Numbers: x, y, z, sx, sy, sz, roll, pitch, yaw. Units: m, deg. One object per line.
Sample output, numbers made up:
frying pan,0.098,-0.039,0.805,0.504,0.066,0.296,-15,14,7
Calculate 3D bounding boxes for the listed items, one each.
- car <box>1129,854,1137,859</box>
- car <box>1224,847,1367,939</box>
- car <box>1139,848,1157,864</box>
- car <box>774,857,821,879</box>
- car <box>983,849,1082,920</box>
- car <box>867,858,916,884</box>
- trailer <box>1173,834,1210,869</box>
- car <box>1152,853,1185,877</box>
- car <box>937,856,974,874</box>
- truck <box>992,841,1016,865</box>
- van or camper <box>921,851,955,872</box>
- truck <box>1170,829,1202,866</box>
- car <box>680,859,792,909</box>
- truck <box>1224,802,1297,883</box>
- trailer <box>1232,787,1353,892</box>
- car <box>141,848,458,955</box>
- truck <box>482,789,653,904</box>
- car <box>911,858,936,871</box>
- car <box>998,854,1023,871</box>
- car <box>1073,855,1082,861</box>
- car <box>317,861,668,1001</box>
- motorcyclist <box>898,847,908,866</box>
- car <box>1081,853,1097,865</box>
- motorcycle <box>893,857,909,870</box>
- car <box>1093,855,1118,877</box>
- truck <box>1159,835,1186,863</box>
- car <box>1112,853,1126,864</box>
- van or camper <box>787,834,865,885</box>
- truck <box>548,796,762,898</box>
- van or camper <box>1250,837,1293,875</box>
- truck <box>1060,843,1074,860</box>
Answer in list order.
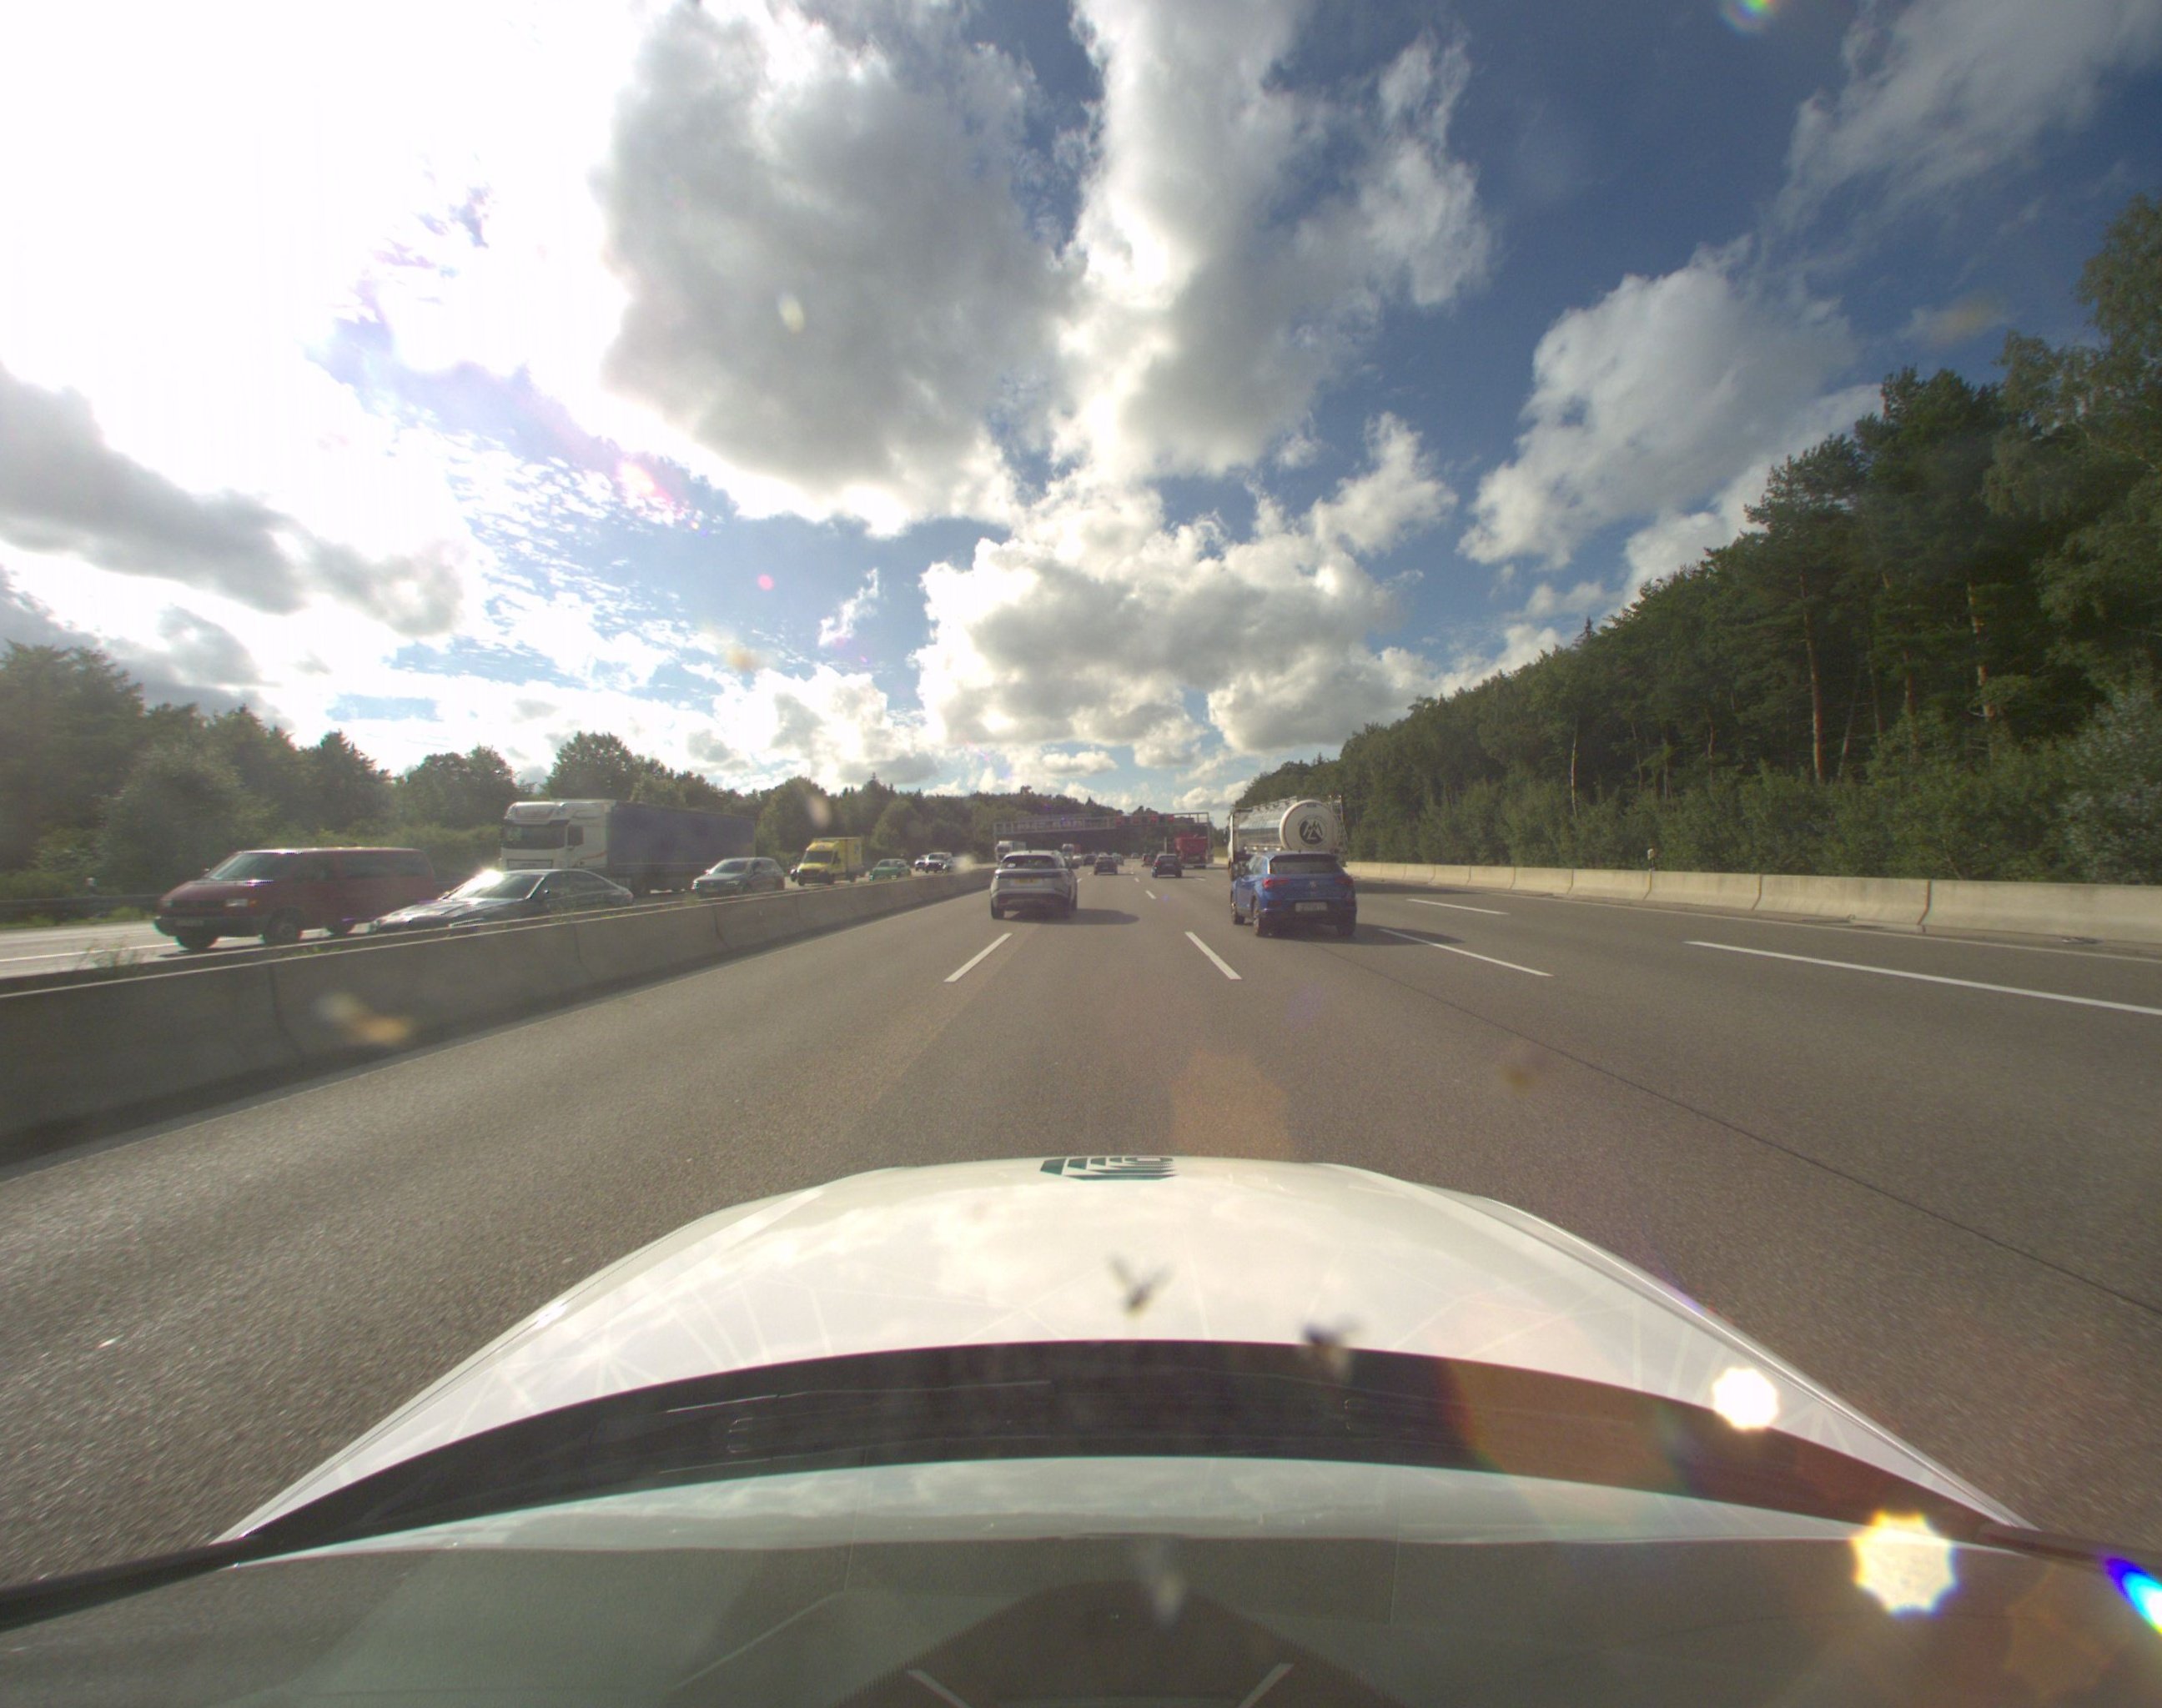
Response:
car,14.896,0.662,232.791,2.067,1.457,4.006,-2,0,5
car,4.030,0.661,16.054,1.766,1.530,4.460,-1,0,2
car,7.928,0.237,96.845,1.887,1.856,4.101,0,0,1
car,-19.642,0.946,56.649,1.690,1.470,4.025,-1,0,3
car,-1.105,0.697,21.330,1.998,1.616,5.305,-1,0,3
car,-11.660,1.019,50.329,1.776,1.470,4.333,-2,0,3
trailer,10.859,-0.304,81.089,2.699,3.231,9.737,-1,0,2
car,5.634,0.694,52.545,1.815,1.457,4.002,-1,0,2
car,-10.953,0.907,71.410,2.162,1.470,4.790,-1,0,4
truck,-13.261,-0.173,140.402,3.306,4.106,6.226,-1,0,1
van or camper,-13.967,0.727,79.867,1.984,1.937,5.464,-1,0,4
truck,11.006,-0.716,85.849,2.699,3.718,5.820,-1,0,2
car,-12.683,1.033,30.348,1.836,1.596,4.916,-2,0,2
truck,9.167,-0.576,42.209,2.637,3.823,6.087,-2,0,3
trailer,8.852,-0.544,35.806,2.638,3.767,11.867,-2,0,2
car,-16.239,0.868,17.429,1.840,1.940,5.034,-1,0,1
truck,-20.183,-0.280,32.505,2.809,4.094,6.064,-1,0,2
car,-17.458,1.146,90.488,1.816,1.394,4.280,-1,0,1
car,-6.864,0.787,79.180,1.856,1.552,4.663,-1,0,2
car,-0.815,0.826,188.169,1.803,1.302,4.050,-1,0,4
car,-9.925,1.145,14.529,2.163,1.878,5.364,-2,0,2
motorcyclist,-14.179,0.203,64.898,0.600,1.476,0.532,-1,-1,3
car,1.050,0.640,109.926,1.934,1.457,4.003,-2,0,3
motorcycle,-14.213,0.751,64.234,0.607,1.040,2.177,-1,0,4
car,1.875,0.895,61.837,1.815,1.546,4.002,-1,0,2
truck,13.571,-0.761,121.743,3.107,3.935,10.414,-1,0,1
car,5.177,0.617,110.688,1.814,1.457,4.004,-1,-1,4
van or camper,-15.517,0.330,50.028,2.364,2.891,6.511,-1,0,3
truck,-19.978,-0.272,39.953,2.809,4.094,13.850,-1,0,2
van or camper,12.278,0.138,52.843,1.815,2.307,4.942,-1,0,3
truck,-3.477,-0.524,199.946,2.725,4.106,5.774,-1,0,6
